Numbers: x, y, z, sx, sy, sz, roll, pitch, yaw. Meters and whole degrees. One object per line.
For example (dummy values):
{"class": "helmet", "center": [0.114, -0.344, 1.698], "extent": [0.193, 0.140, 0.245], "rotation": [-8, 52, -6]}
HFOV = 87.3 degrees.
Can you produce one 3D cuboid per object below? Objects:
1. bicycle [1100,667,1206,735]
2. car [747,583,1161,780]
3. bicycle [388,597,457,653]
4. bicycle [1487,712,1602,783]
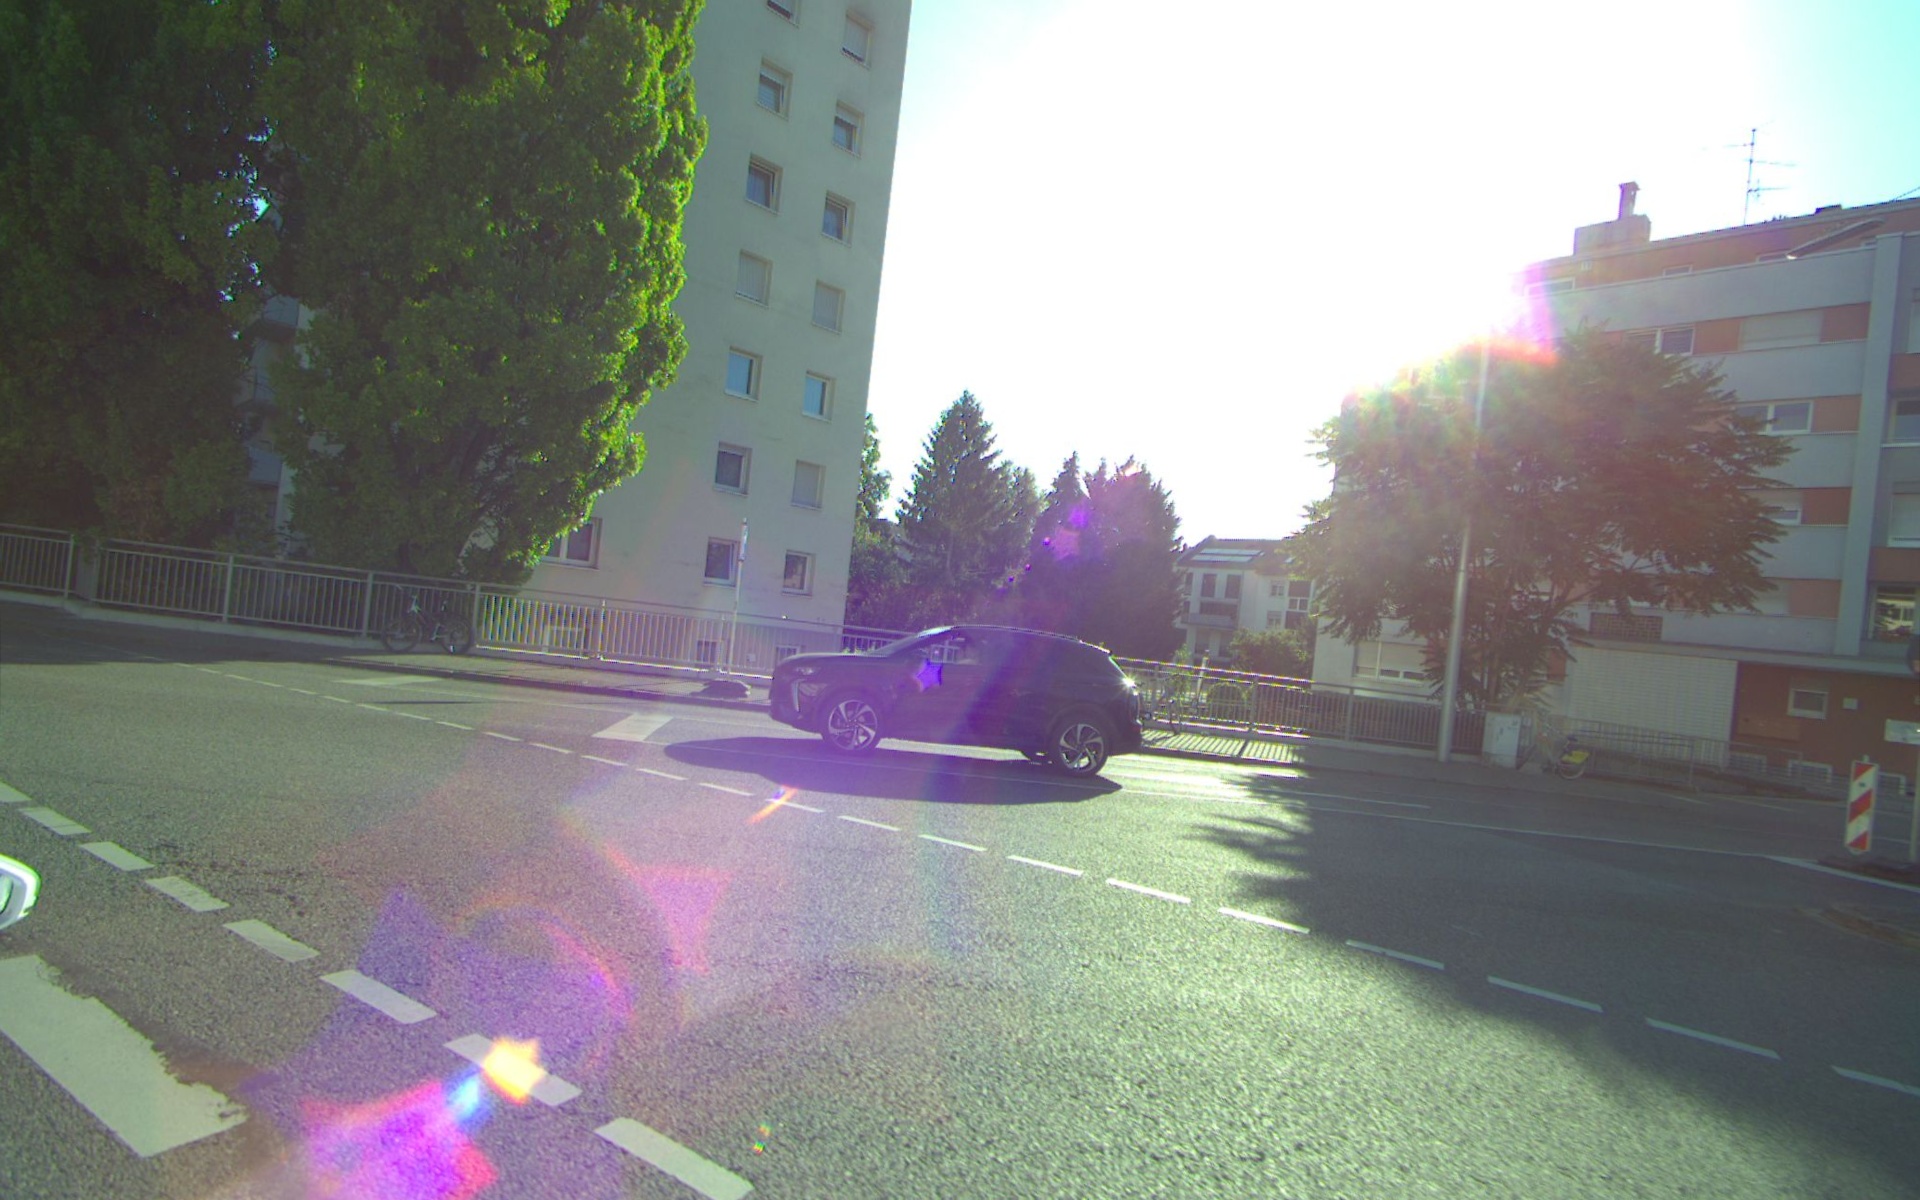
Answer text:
{"class": "bicycle", "center": [3.832, 2.009, 20.000], "extent": [1.895, 1.080, 0.614], "rotation": [9, -1, -17]}
{"class": "car", "center": [-0.166, 1.006, 12.219], "extent": [4.588, 1.688, 1.998], "rotation": [8, -4, -12]}
{"class": "bicycle", "center": [-9.482, 0.453, 17.786], "extent": [0.402, 0.914, 1.289], "rotation": [8, -2, 0]}
{"class": "bicycle", "center": [12.557, 3.168, 21.597], "extent": [2.302, 1.192, 0.709], "rotation": [9, -1, -19]}
